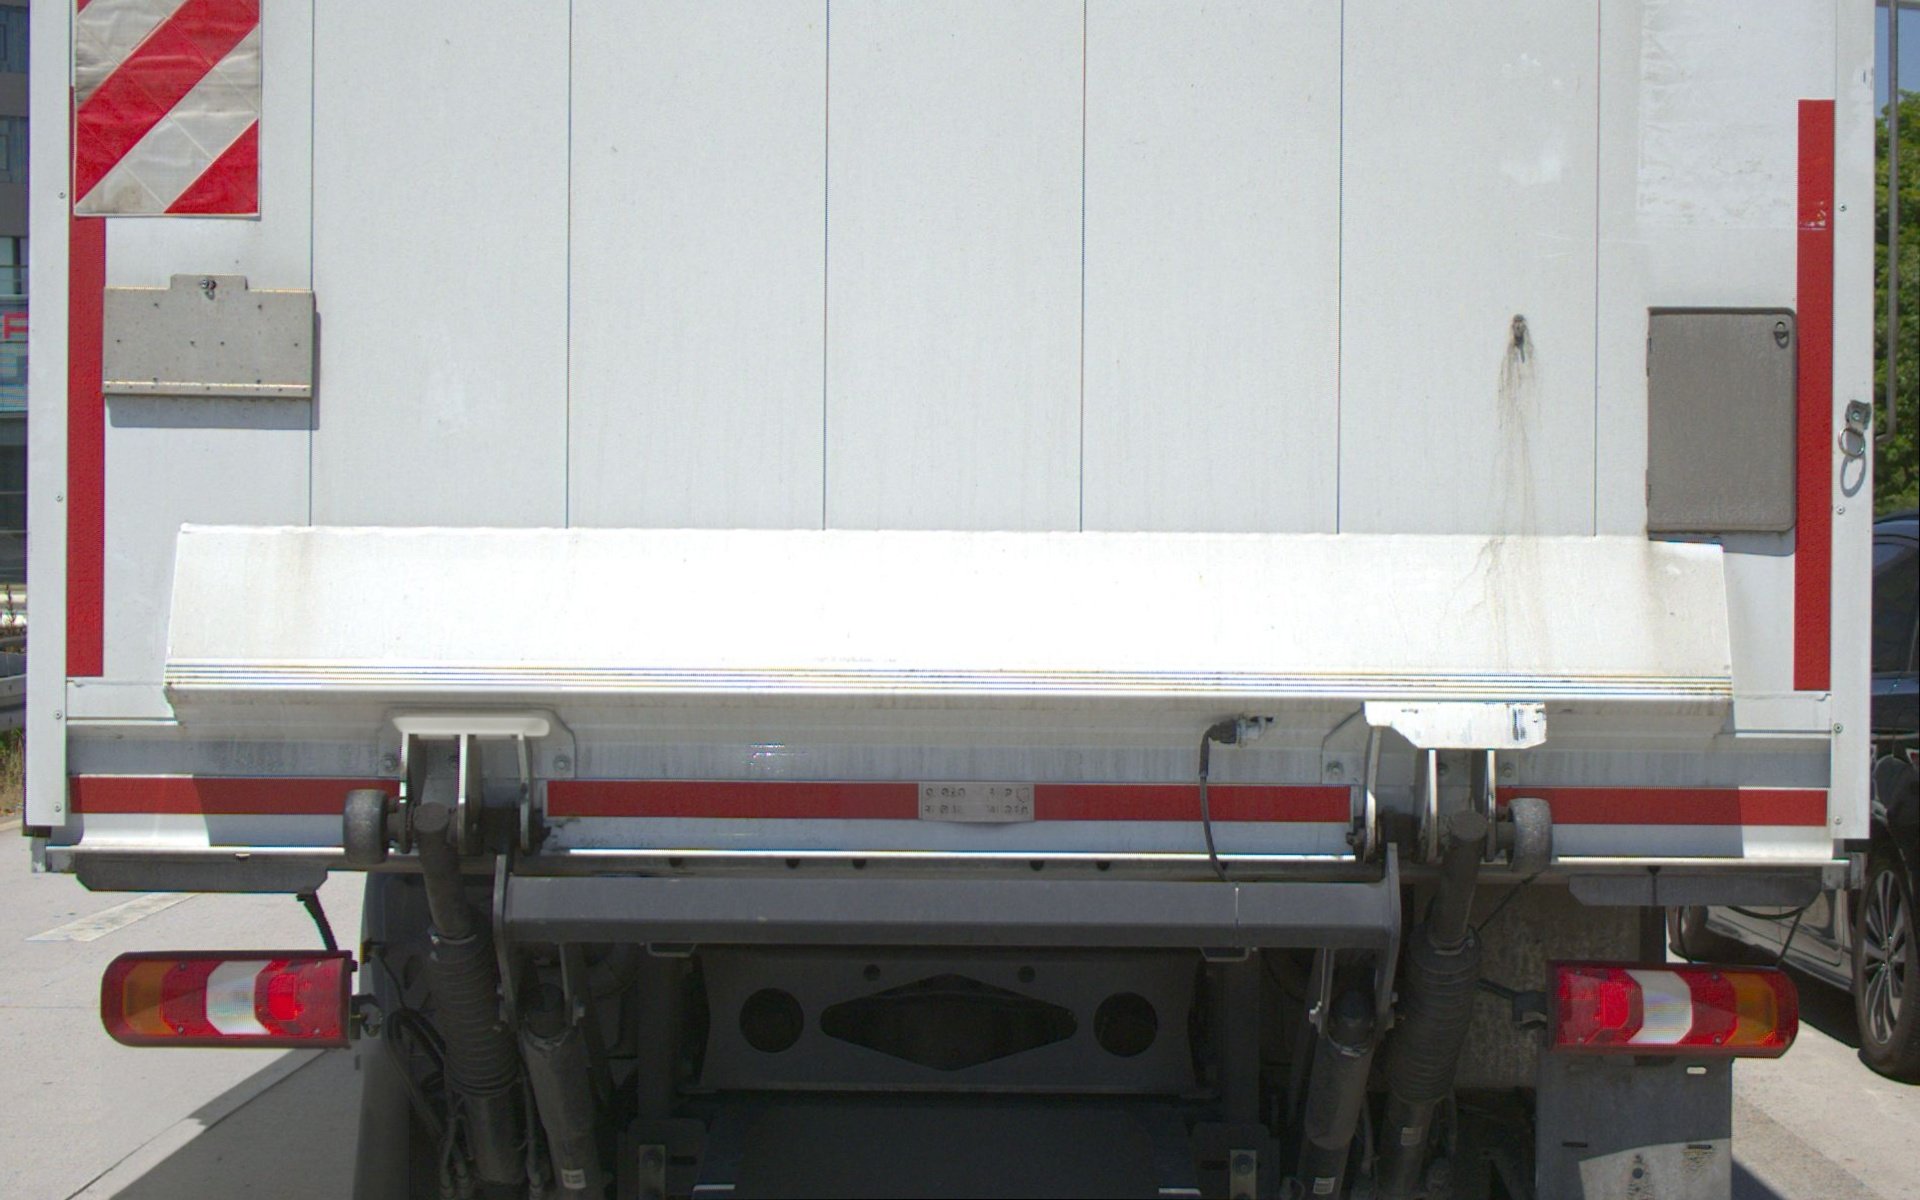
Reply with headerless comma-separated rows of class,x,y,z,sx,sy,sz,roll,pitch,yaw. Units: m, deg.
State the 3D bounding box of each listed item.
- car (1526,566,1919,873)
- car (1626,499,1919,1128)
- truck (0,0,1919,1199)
car,4.197,0.537,18.275,1.768,1.405,4.609,1,1,2
car,3.453,0.546,11.105,1.784,1.634,4.647,1,1,1
truck,-0.010,-0.548,9.190,2.769,3.846,9.371,1,1,-1
